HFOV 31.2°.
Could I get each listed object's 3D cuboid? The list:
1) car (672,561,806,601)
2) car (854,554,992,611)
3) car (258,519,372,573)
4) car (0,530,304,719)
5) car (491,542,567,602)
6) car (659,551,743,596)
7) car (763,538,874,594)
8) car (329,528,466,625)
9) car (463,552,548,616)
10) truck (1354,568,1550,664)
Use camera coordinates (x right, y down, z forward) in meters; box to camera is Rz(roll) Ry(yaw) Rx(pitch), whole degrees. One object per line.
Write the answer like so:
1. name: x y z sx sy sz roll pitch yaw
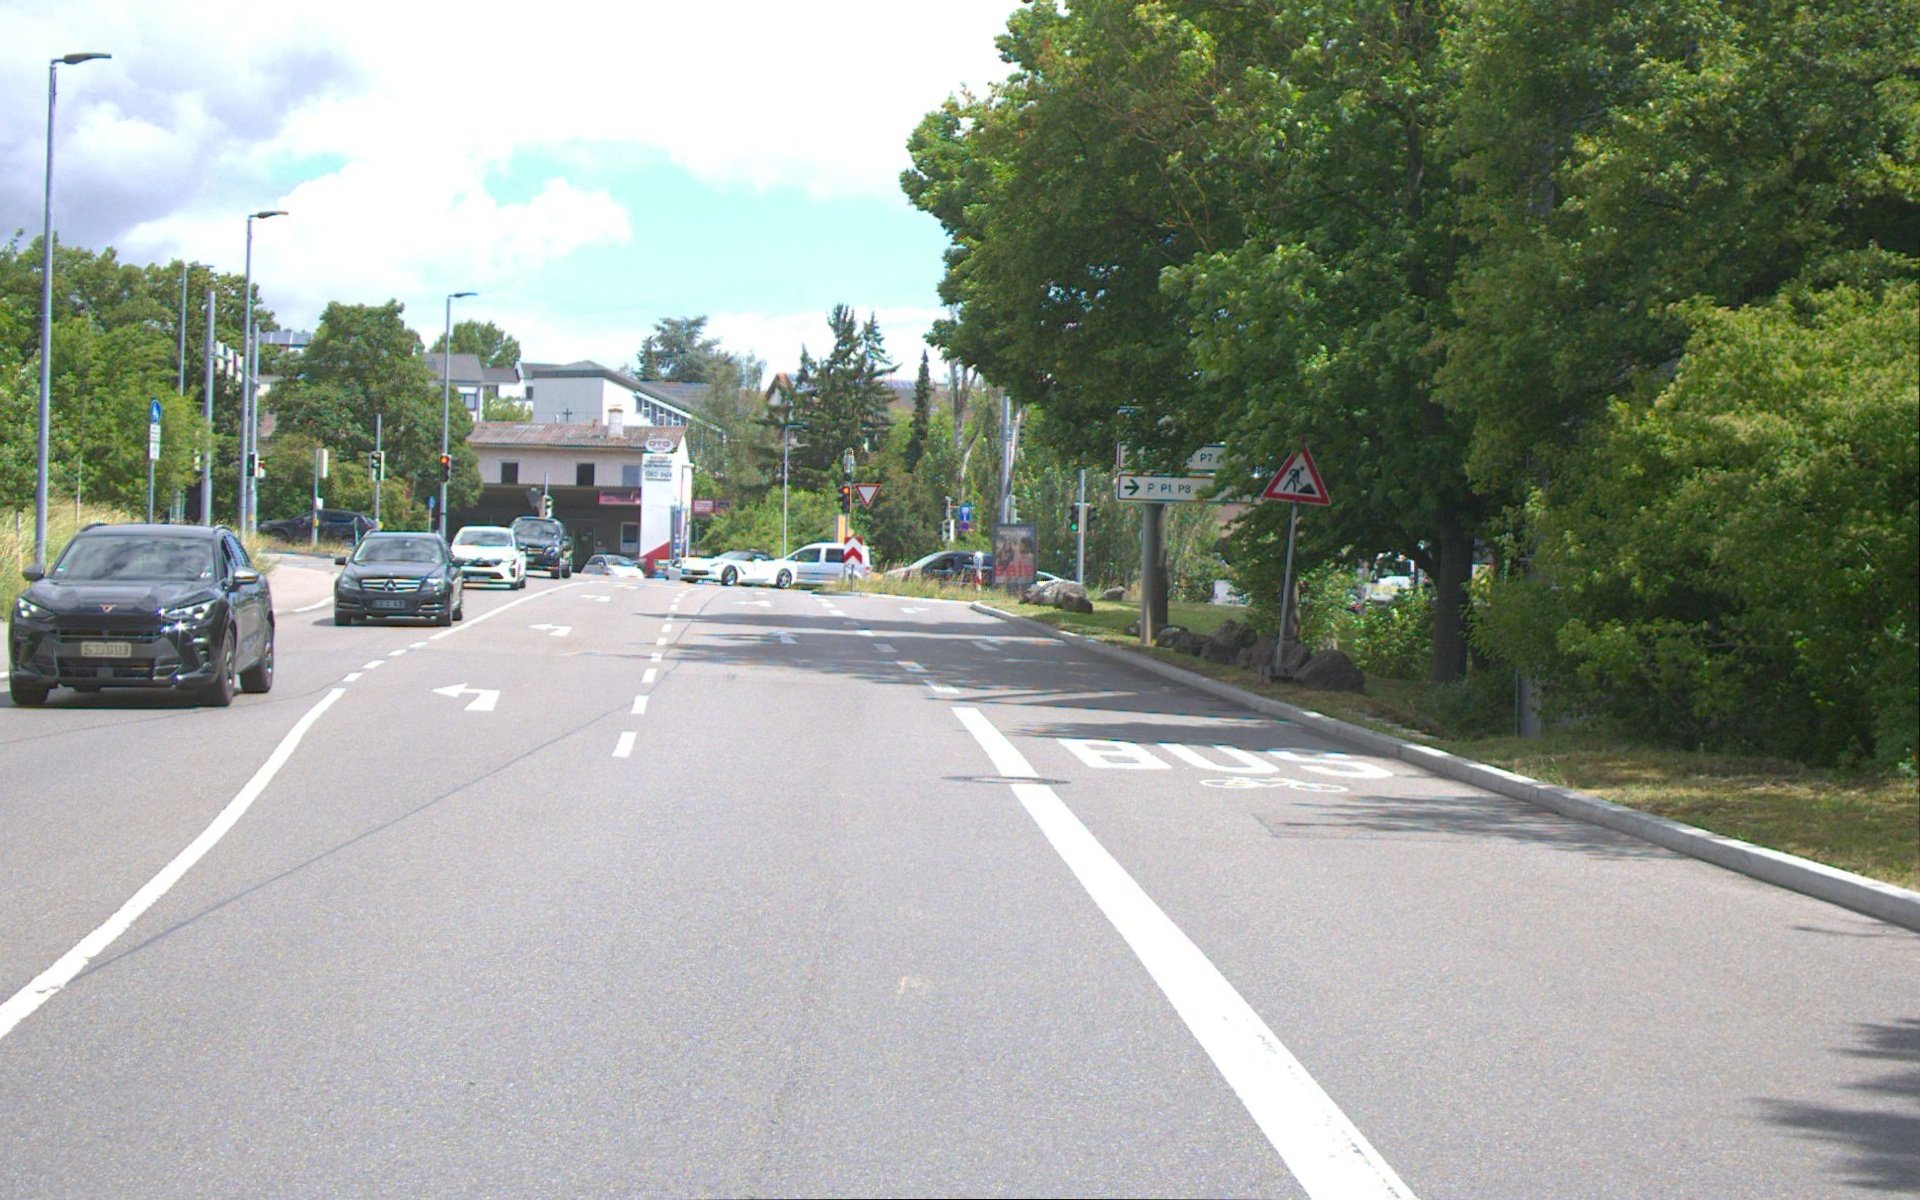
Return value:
1. car: -7.421 -0.633 115.932 1.909 1.287 4.599 1 1 39
2. car: -1.286 -0.601 121.907 4.796 1.773 1.790 4 -3 -40
3. car: -23.681 -1.981 126.103 3.986 1.941 2.000 0 0 -14
4. car: -7.248 0.160 30.989 1.822 1.552 4.629 0 1 -1
5. car: -12.154 -0.811 97.107 1.821 1.648 4.533 1 1 -3
6. car: -11.030 -1.119 146.078 1.899 1.853 3.810 0 0 -35
7. car: -5.169 -1.231 126.034 3.987 2.007 2.000 0 0 0
8. car: -8.740 -0.376 53.700 1.766 1.437 4.378 0 1 -5
9. car: -10.528 -0.395 79.890 1.766 1.437 3.900 0 1 -5
10. truck: 18.415 0.601 129.032 6.944 3.567 2.847 0 0 0
